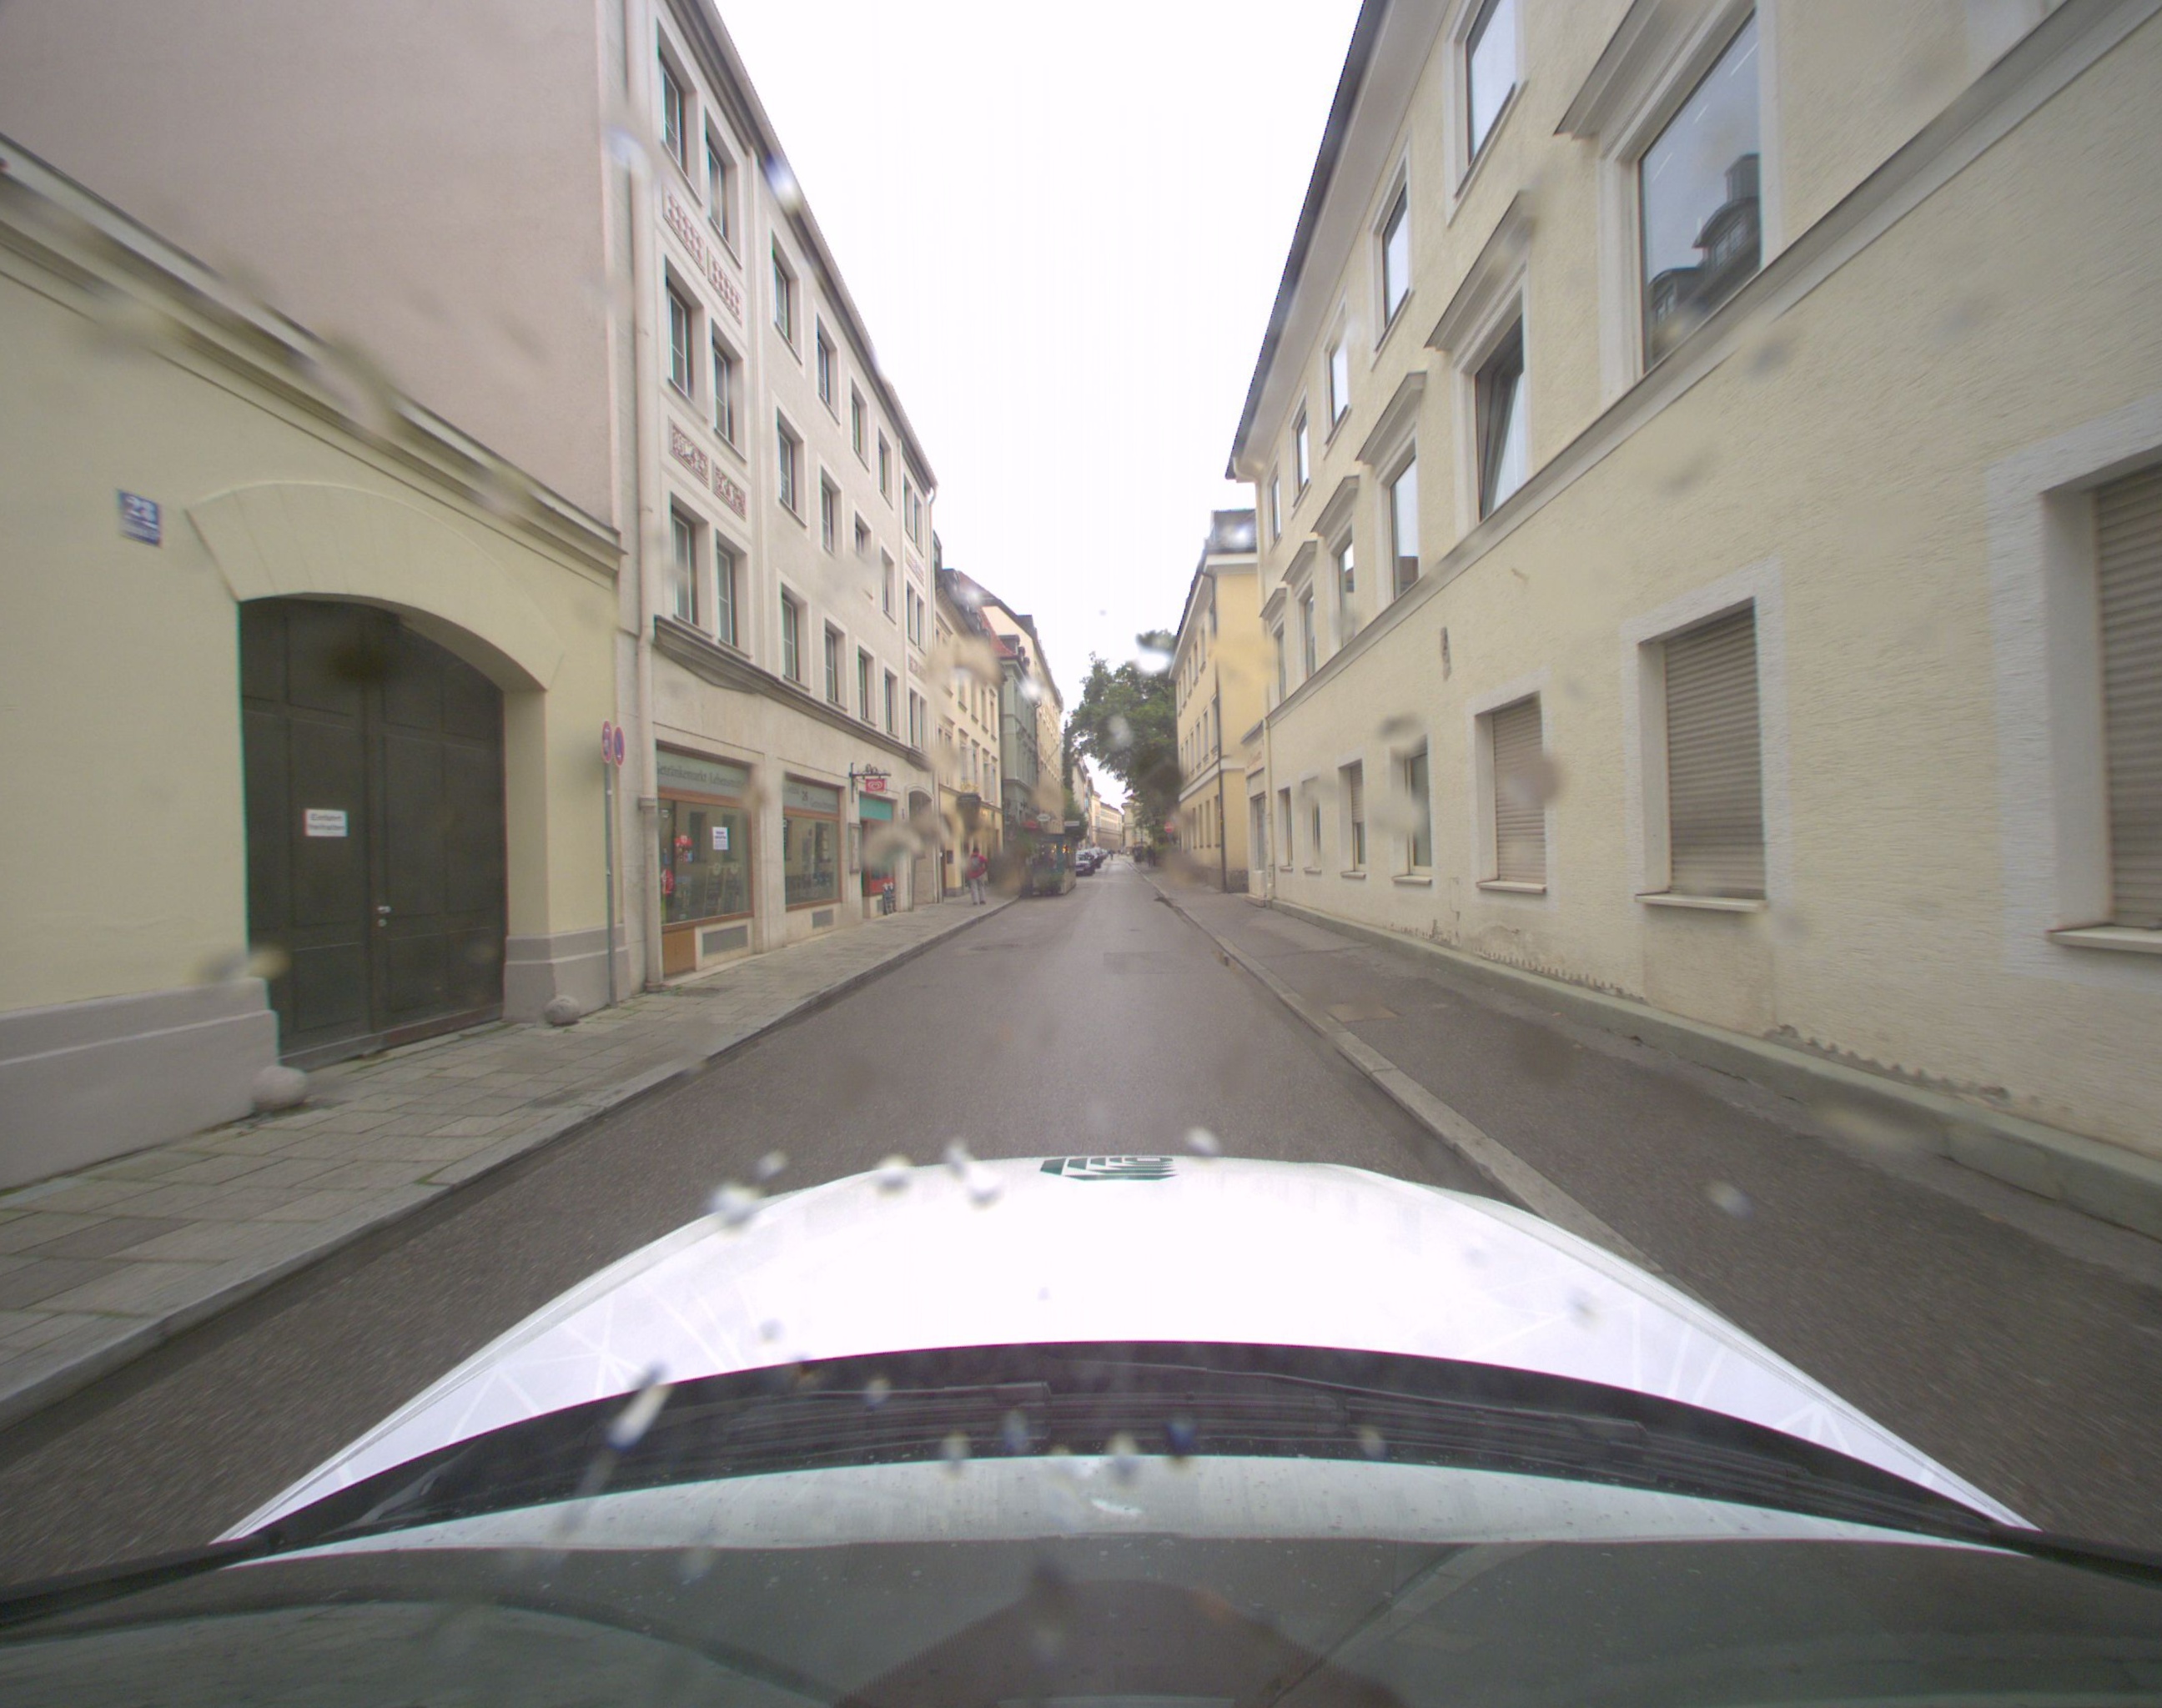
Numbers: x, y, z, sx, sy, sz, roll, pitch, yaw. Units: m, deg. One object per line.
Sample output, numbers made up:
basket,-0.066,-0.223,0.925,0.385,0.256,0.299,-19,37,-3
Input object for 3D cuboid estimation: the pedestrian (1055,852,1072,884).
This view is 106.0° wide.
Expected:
pedestrian,-0.738,0.600,35.062,0.671,1.326,0.696,-1,0,0

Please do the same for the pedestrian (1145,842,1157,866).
pedestrian,5.322,-0.008,62.159,0.877,1.802,1.047,-1,0,3

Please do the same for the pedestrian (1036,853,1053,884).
pedestrian,-1.586,0.613,35.204,0.671,1.326,0.696,-1,0,0

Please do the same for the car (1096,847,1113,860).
car,2.905,-0.081,99.744,1.771,1.466,3.547,-1,0,5

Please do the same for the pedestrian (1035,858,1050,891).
pedestrian,-1.404,0.762,29.925,0.508,1.187,0.631,-1,0,0

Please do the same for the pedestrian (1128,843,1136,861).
pedestrian,5.315,-0.204,84.189,0.790,1.802,0.904,-1,0,3

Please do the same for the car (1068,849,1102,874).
car,0.310,0.453,50.452,1.771,1.466,3.668,-1,0,5

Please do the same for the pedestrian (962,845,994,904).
pedestrian,-3.059,0.605,24.241,0.763,1.708,0.785,-2,0,0

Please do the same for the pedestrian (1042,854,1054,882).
pedestrian,-1.464,0.604,36.251,0.508,1.237,0.631,-1,0,0

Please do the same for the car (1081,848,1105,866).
car,1.067,0.202,70.040,1.771,1.466,3.547,-1,0,5

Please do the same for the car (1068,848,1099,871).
car,0.221,0.363,55.094,1.771,1.466,3.547,-1,0,5

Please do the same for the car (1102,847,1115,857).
car,4.091,-0.368,121.519,1.771,1.466,3.547,-1,0,5

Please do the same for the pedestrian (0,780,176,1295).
pedestrian,-4.098,0.632,2.784,0.807,1.755,0.990,-1,2,0

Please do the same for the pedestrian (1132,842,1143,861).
pedestrian,5.447,-0.227,78.838,1.011,1.802,1.350,-1,0,3

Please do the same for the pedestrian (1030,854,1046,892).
pedestrian,-1.521,0.653,28.933,0.508,1.326,0.631,-1,0,0
